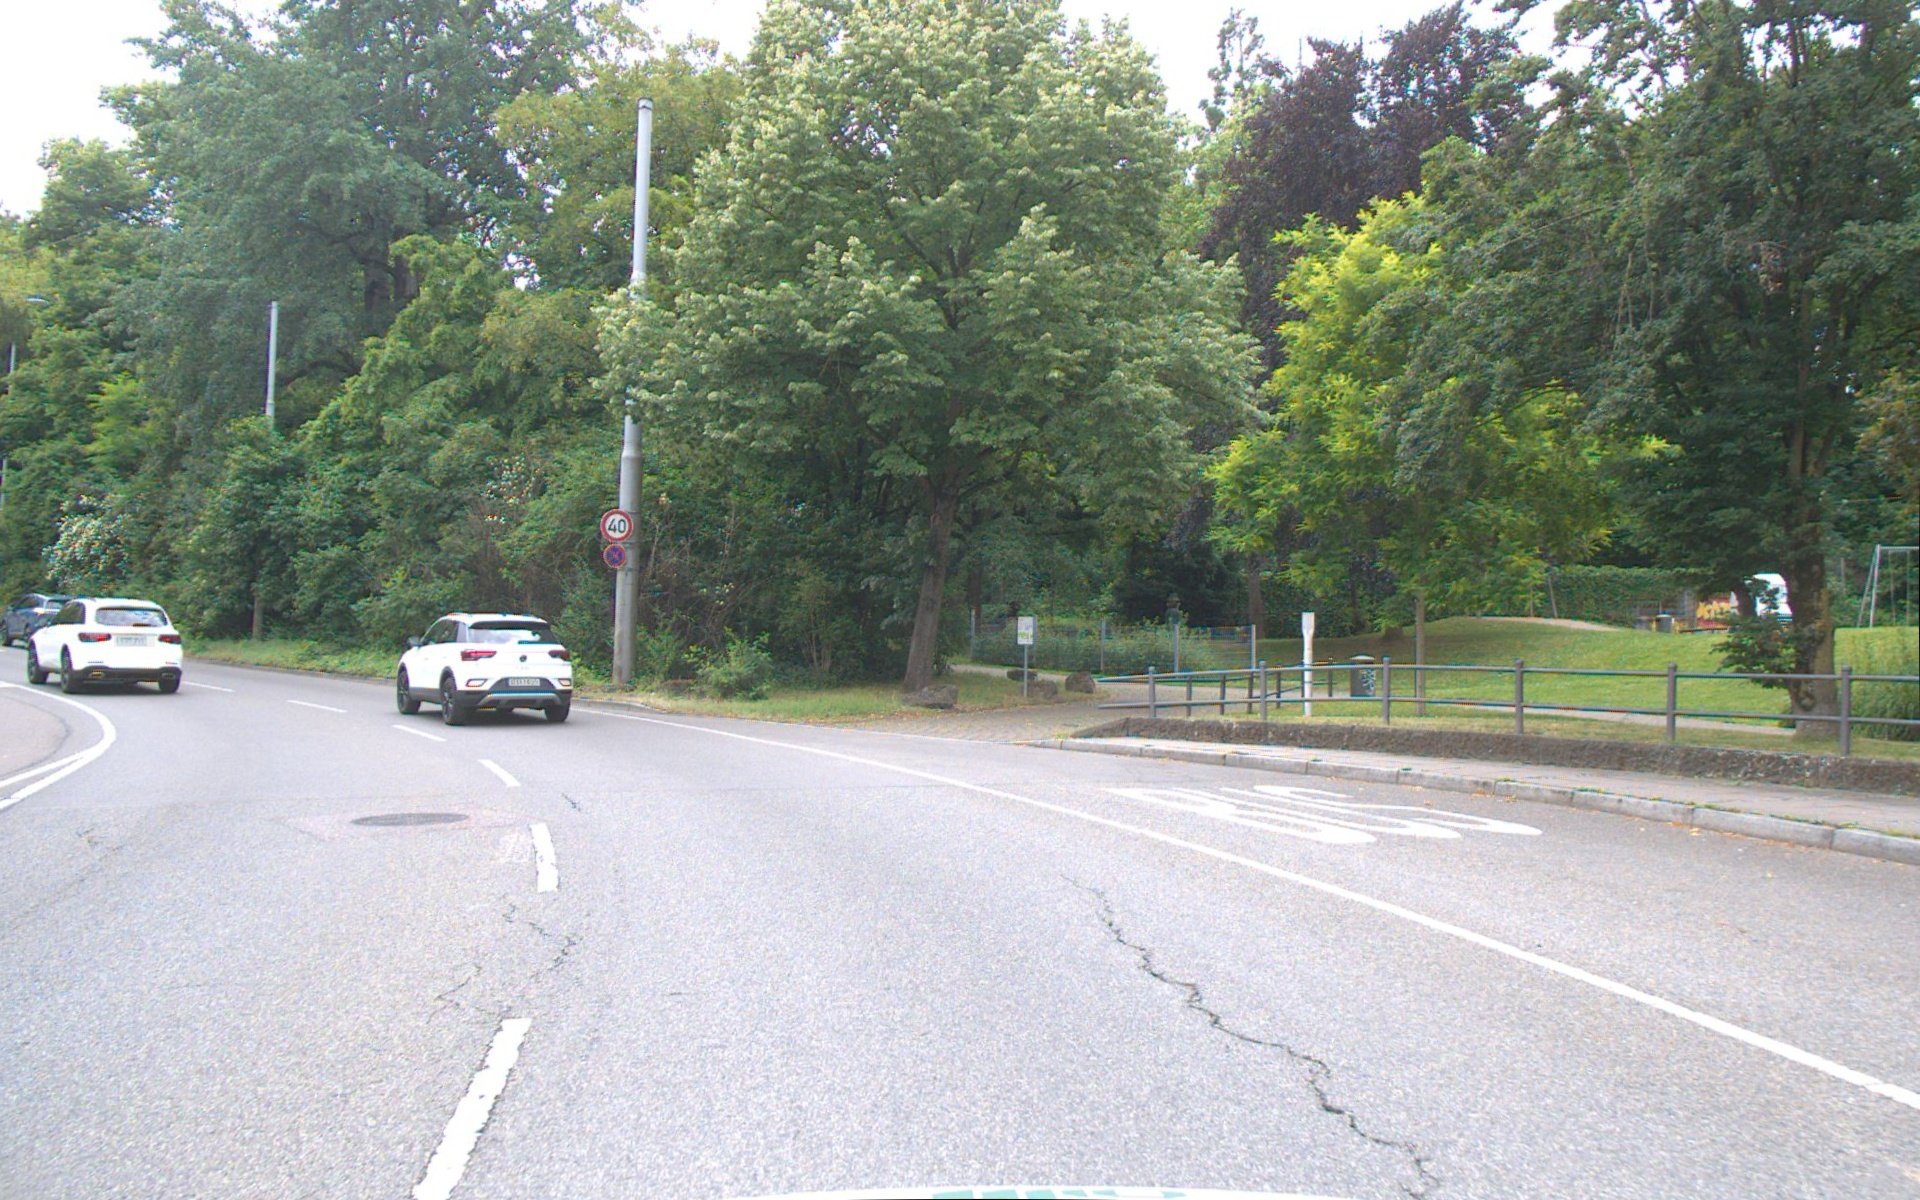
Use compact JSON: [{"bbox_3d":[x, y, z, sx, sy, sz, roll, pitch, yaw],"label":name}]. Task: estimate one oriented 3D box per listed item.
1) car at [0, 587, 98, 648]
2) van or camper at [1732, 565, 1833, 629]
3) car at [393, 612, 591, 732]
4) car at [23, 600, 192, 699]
[{"bbox_3d":[-26.282,0.470,47.191,3.891,1.660,1.855,0,0,43],"label":"car"},{"bbox_3d":[27.698,-0.102,55.866,2.255,2.049,5.444,0,0,18],"label":"van or camper"},{"bbox_3d":[-7.130,1.009,24.953,1.847,1.583,3.851,1,0,-33],"label":"car"},{"bbox_3d":[-15.705,0.858,30.377,1.865,1.681,4.278,1,-1,-40],"label":"car"}]
